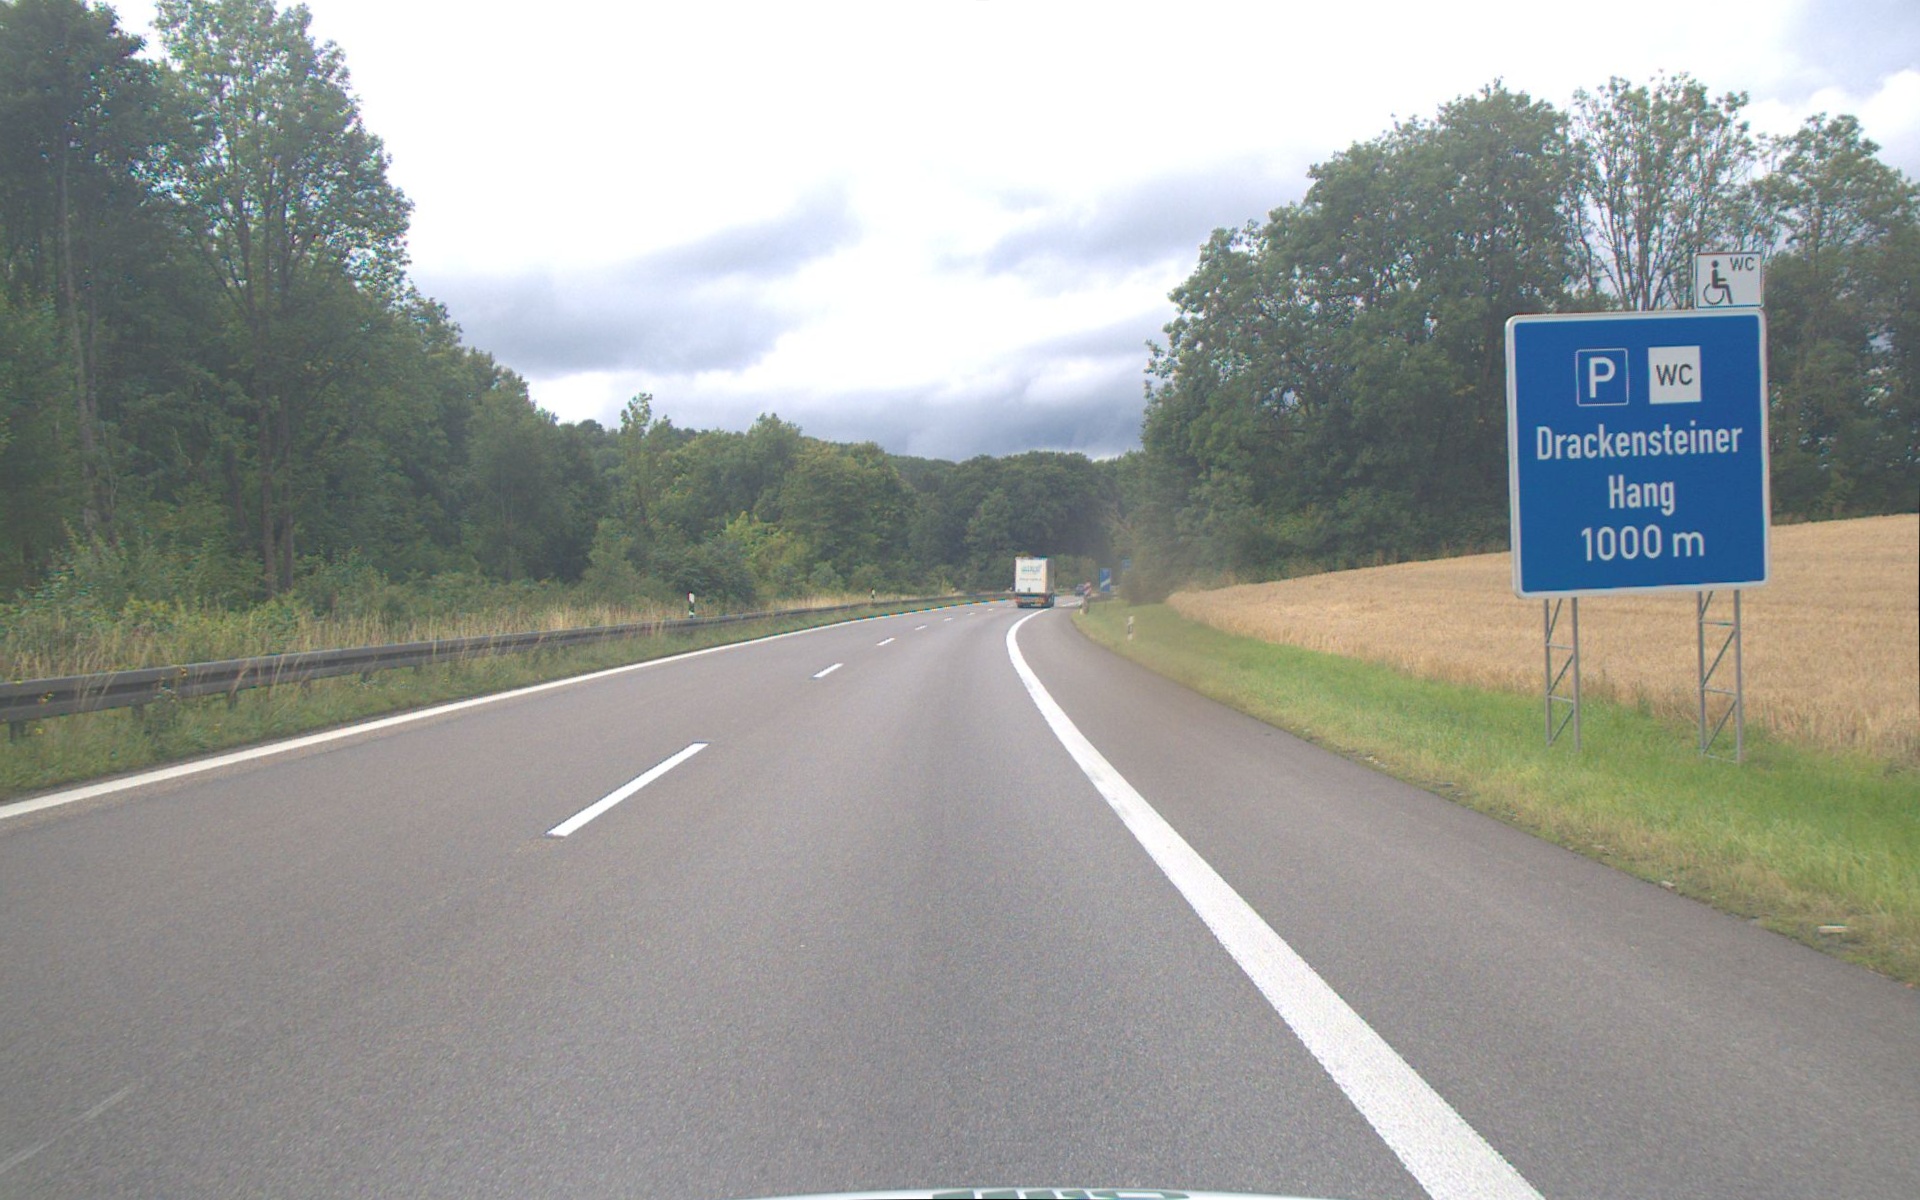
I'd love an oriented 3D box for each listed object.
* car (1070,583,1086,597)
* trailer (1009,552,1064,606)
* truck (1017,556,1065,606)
[{"bbox_3d":[16.372,-1.430,229.698,1.862,1.826,4.003,1,-1,8],"label":"car"},{"bbox_3d":[6.464,-1.672,137.305,3.725,4.247,14.818,0,0,6],"label":"trailer"},{"bbox_3d":[7.104,-1.635,143.339,3.707,4.204,8.270,0,0,6],"label":"truck"}]
